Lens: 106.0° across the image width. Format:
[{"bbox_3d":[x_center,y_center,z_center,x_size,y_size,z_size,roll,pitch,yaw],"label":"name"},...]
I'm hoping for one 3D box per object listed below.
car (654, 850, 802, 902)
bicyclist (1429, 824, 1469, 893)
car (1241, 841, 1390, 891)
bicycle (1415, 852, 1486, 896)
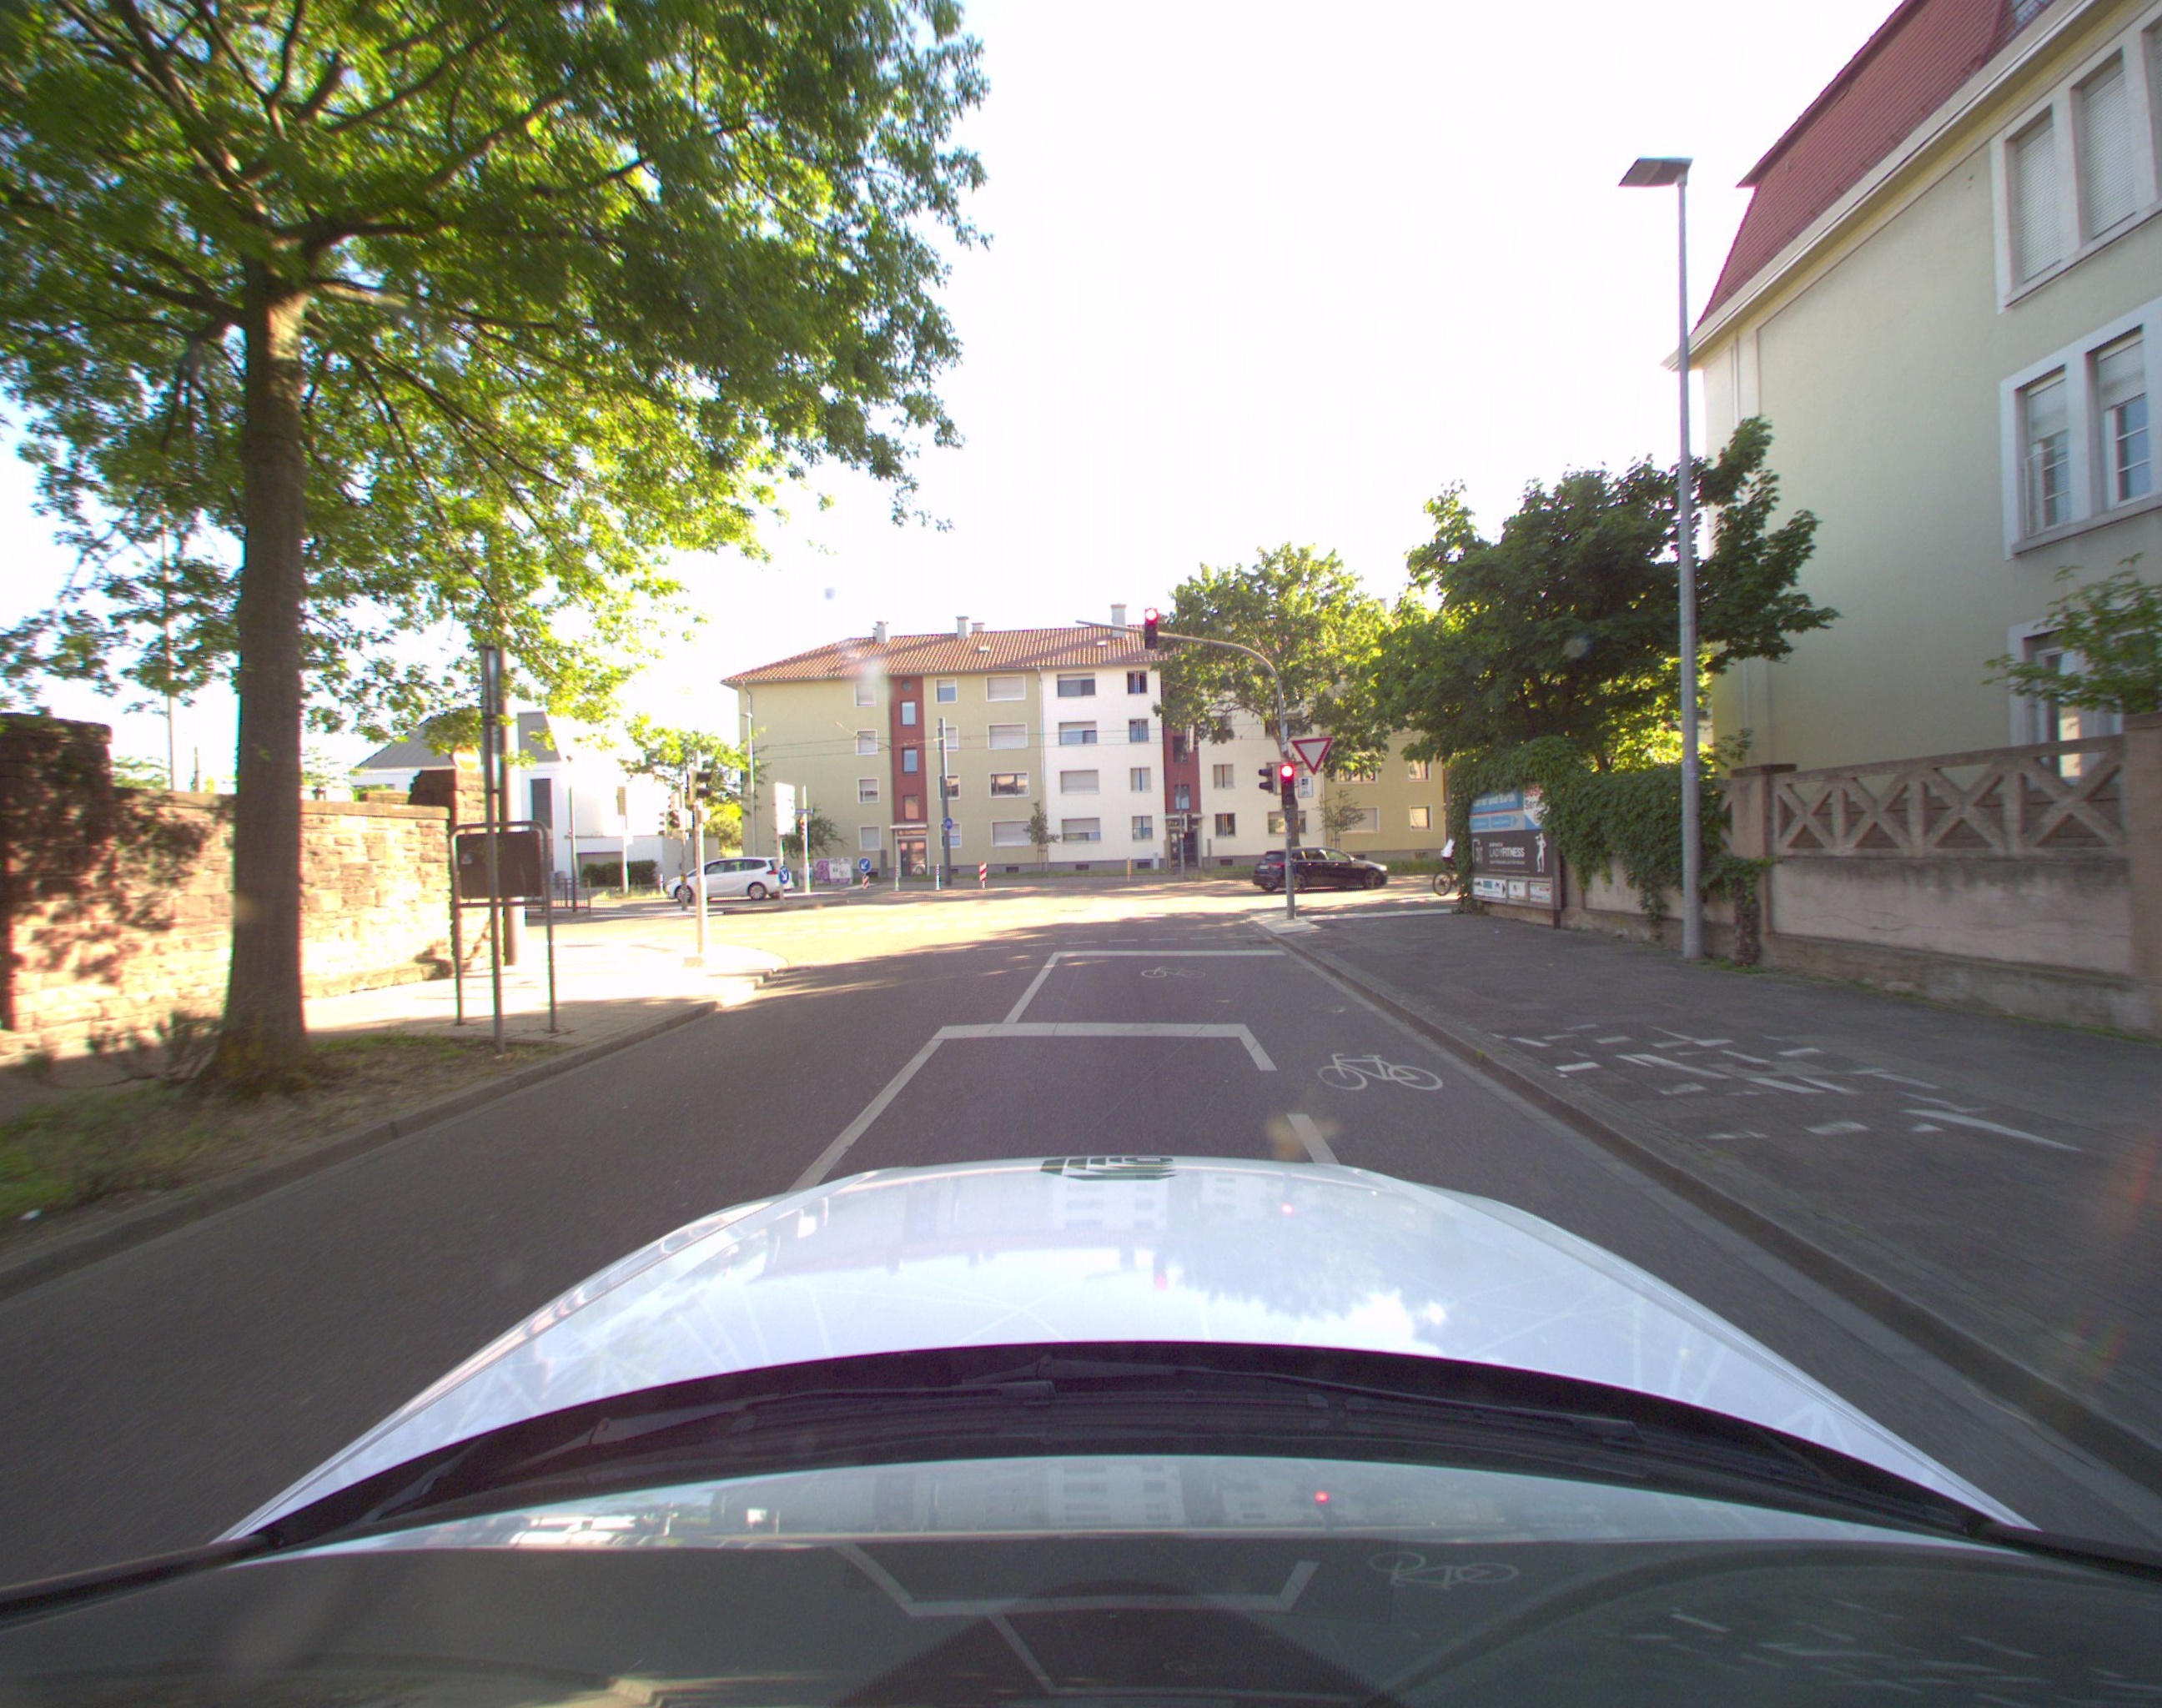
[{"bbox_3d":[-13.213,0.796,30.743,4.650,1.739,1.998,-2,0,-3],"label":"car"},{"bbox_3d":[9.677,0.110,21.433,0.782,1.757,0.613,-2,0,6],"label":"bicyclist"},{"bbox_3d":[7.358,0.346,25.664,4.203,1.421,1.843,-1,1,-17],"label":"car"},{"bbox_3d":[9.726,0.521,21.450,1.677,1.080,0.352,-2,0,2],"label":"bicycle"}]
